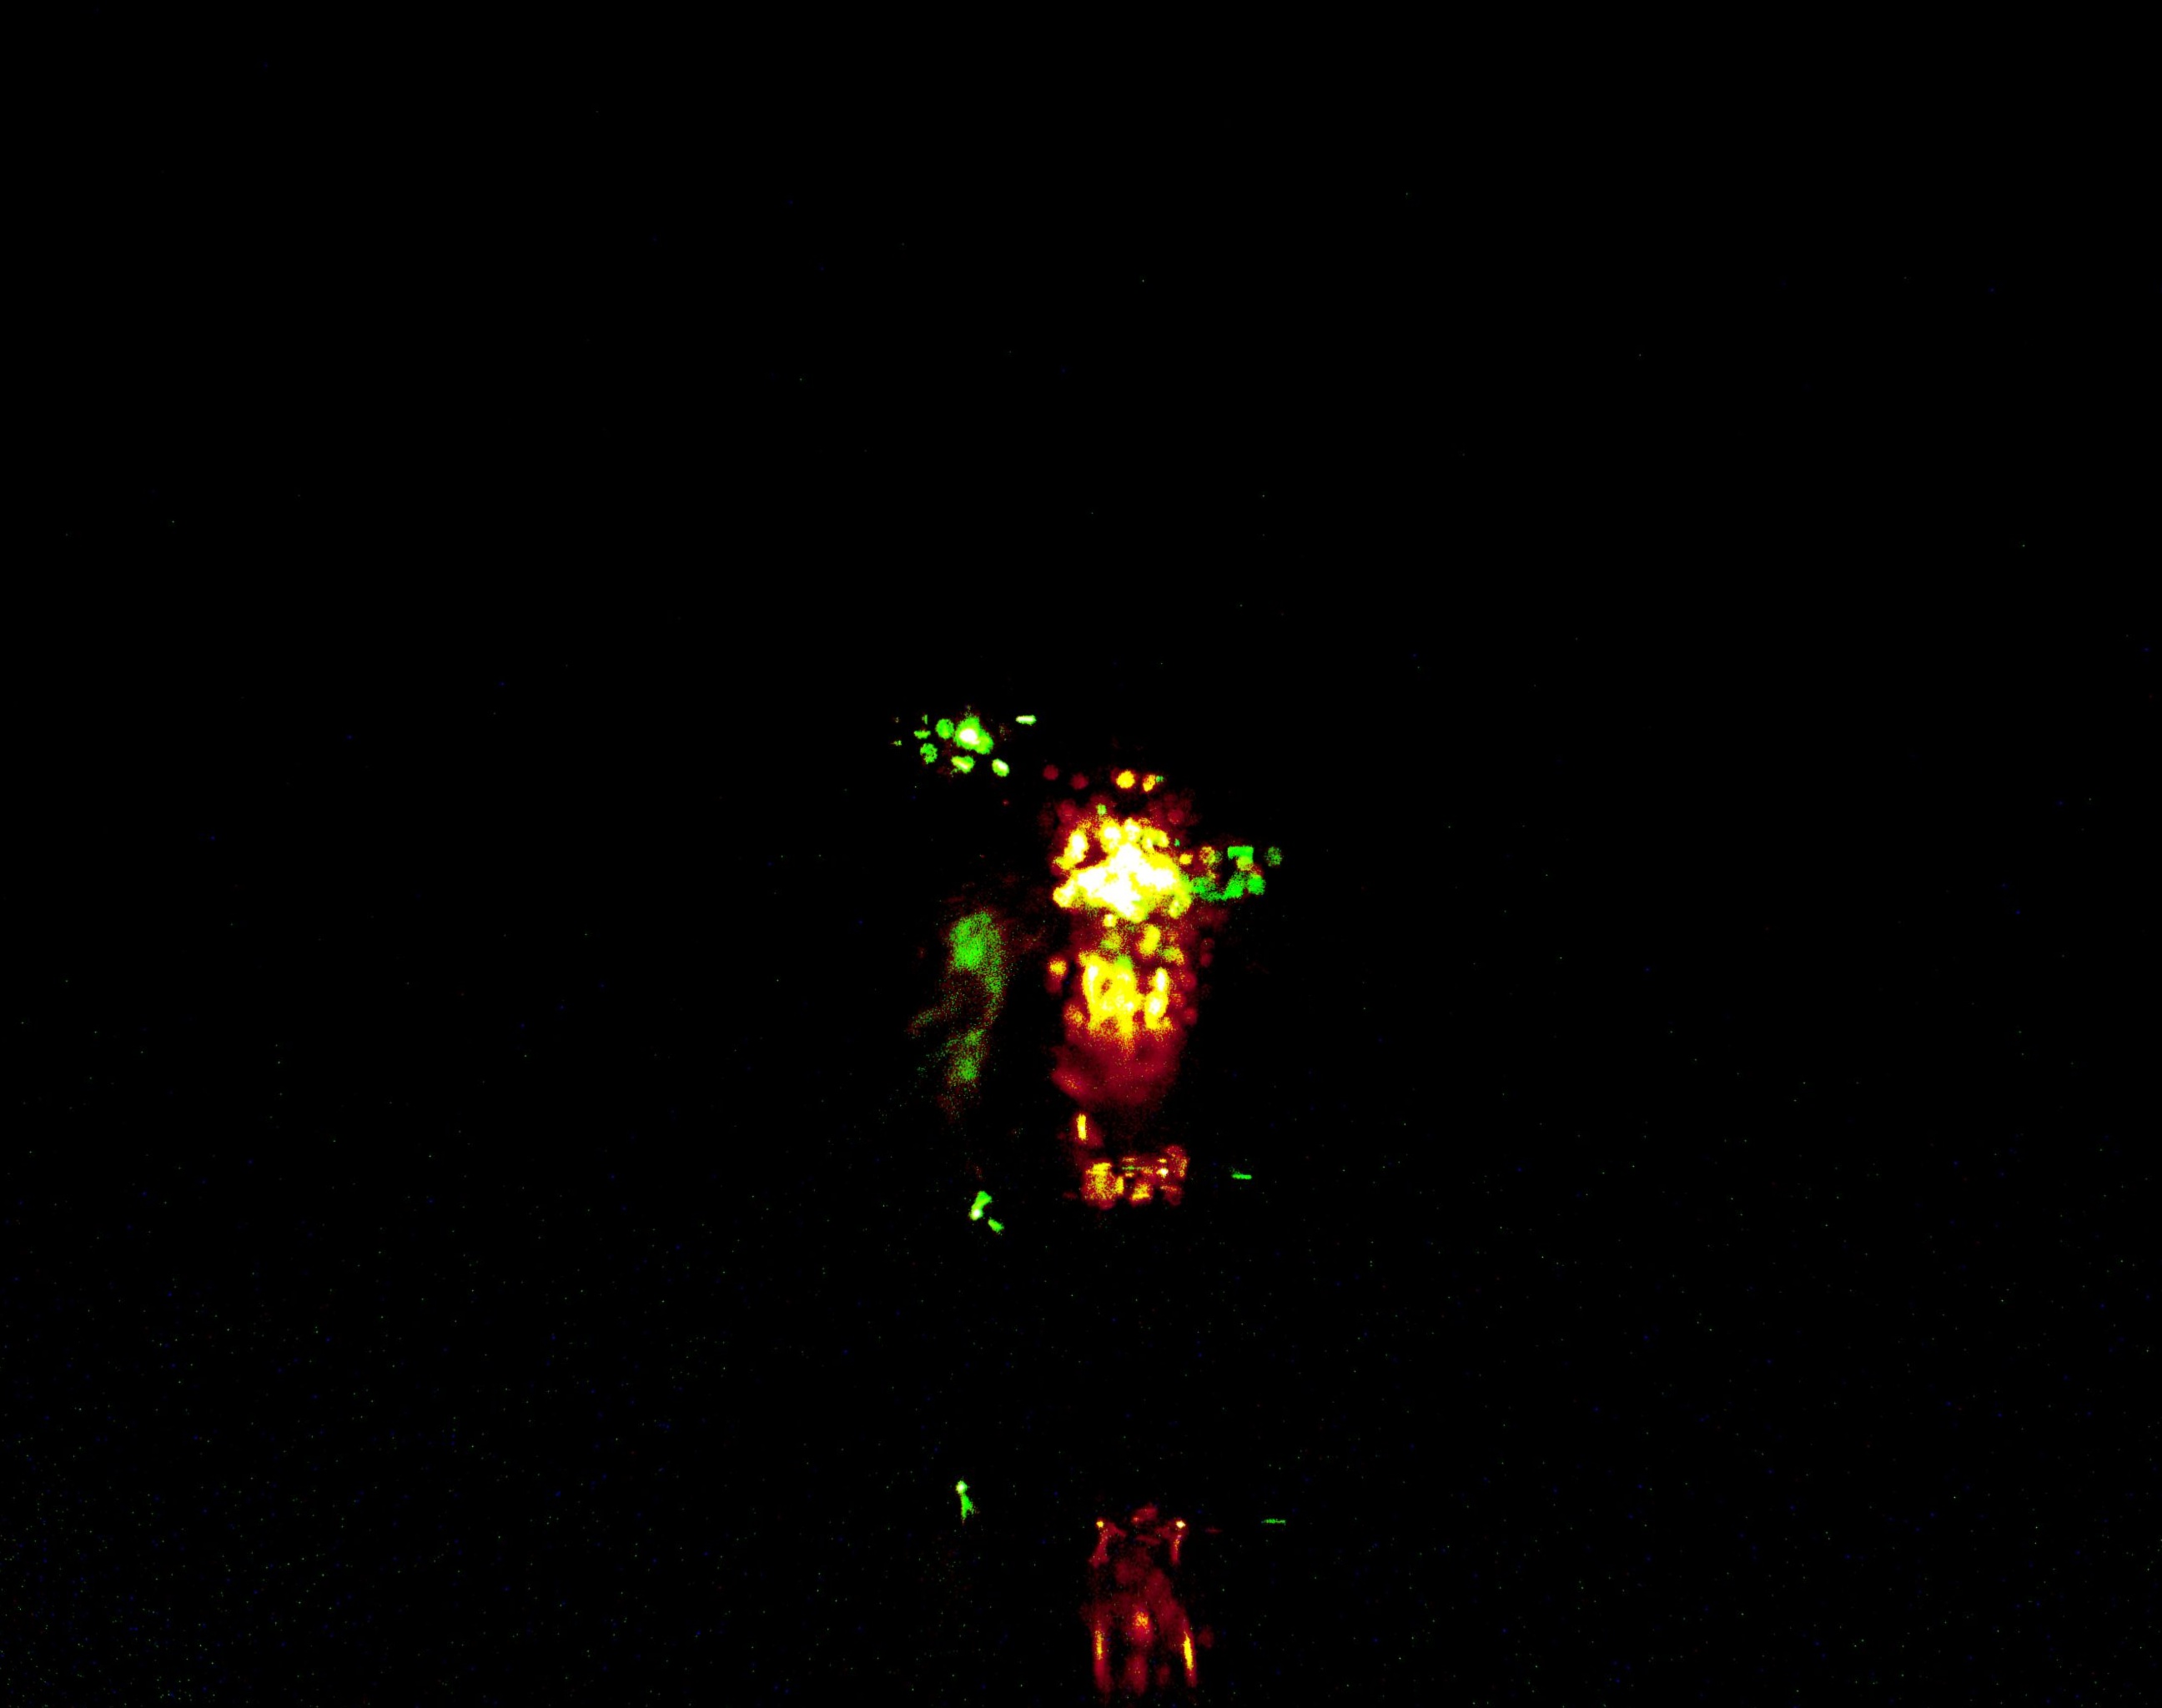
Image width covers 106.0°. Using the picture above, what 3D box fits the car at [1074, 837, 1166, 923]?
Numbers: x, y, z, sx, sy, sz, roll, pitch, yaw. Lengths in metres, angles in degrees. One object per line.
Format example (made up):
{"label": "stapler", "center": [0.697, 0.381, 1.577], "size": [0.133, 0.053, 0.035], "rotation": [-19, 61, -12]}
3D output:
{"label": "car", "center": [0.938, 0.516, 18.191], "size": [1.782, 1.681, 3.909], "rotation": [-2, 0, 4]}
